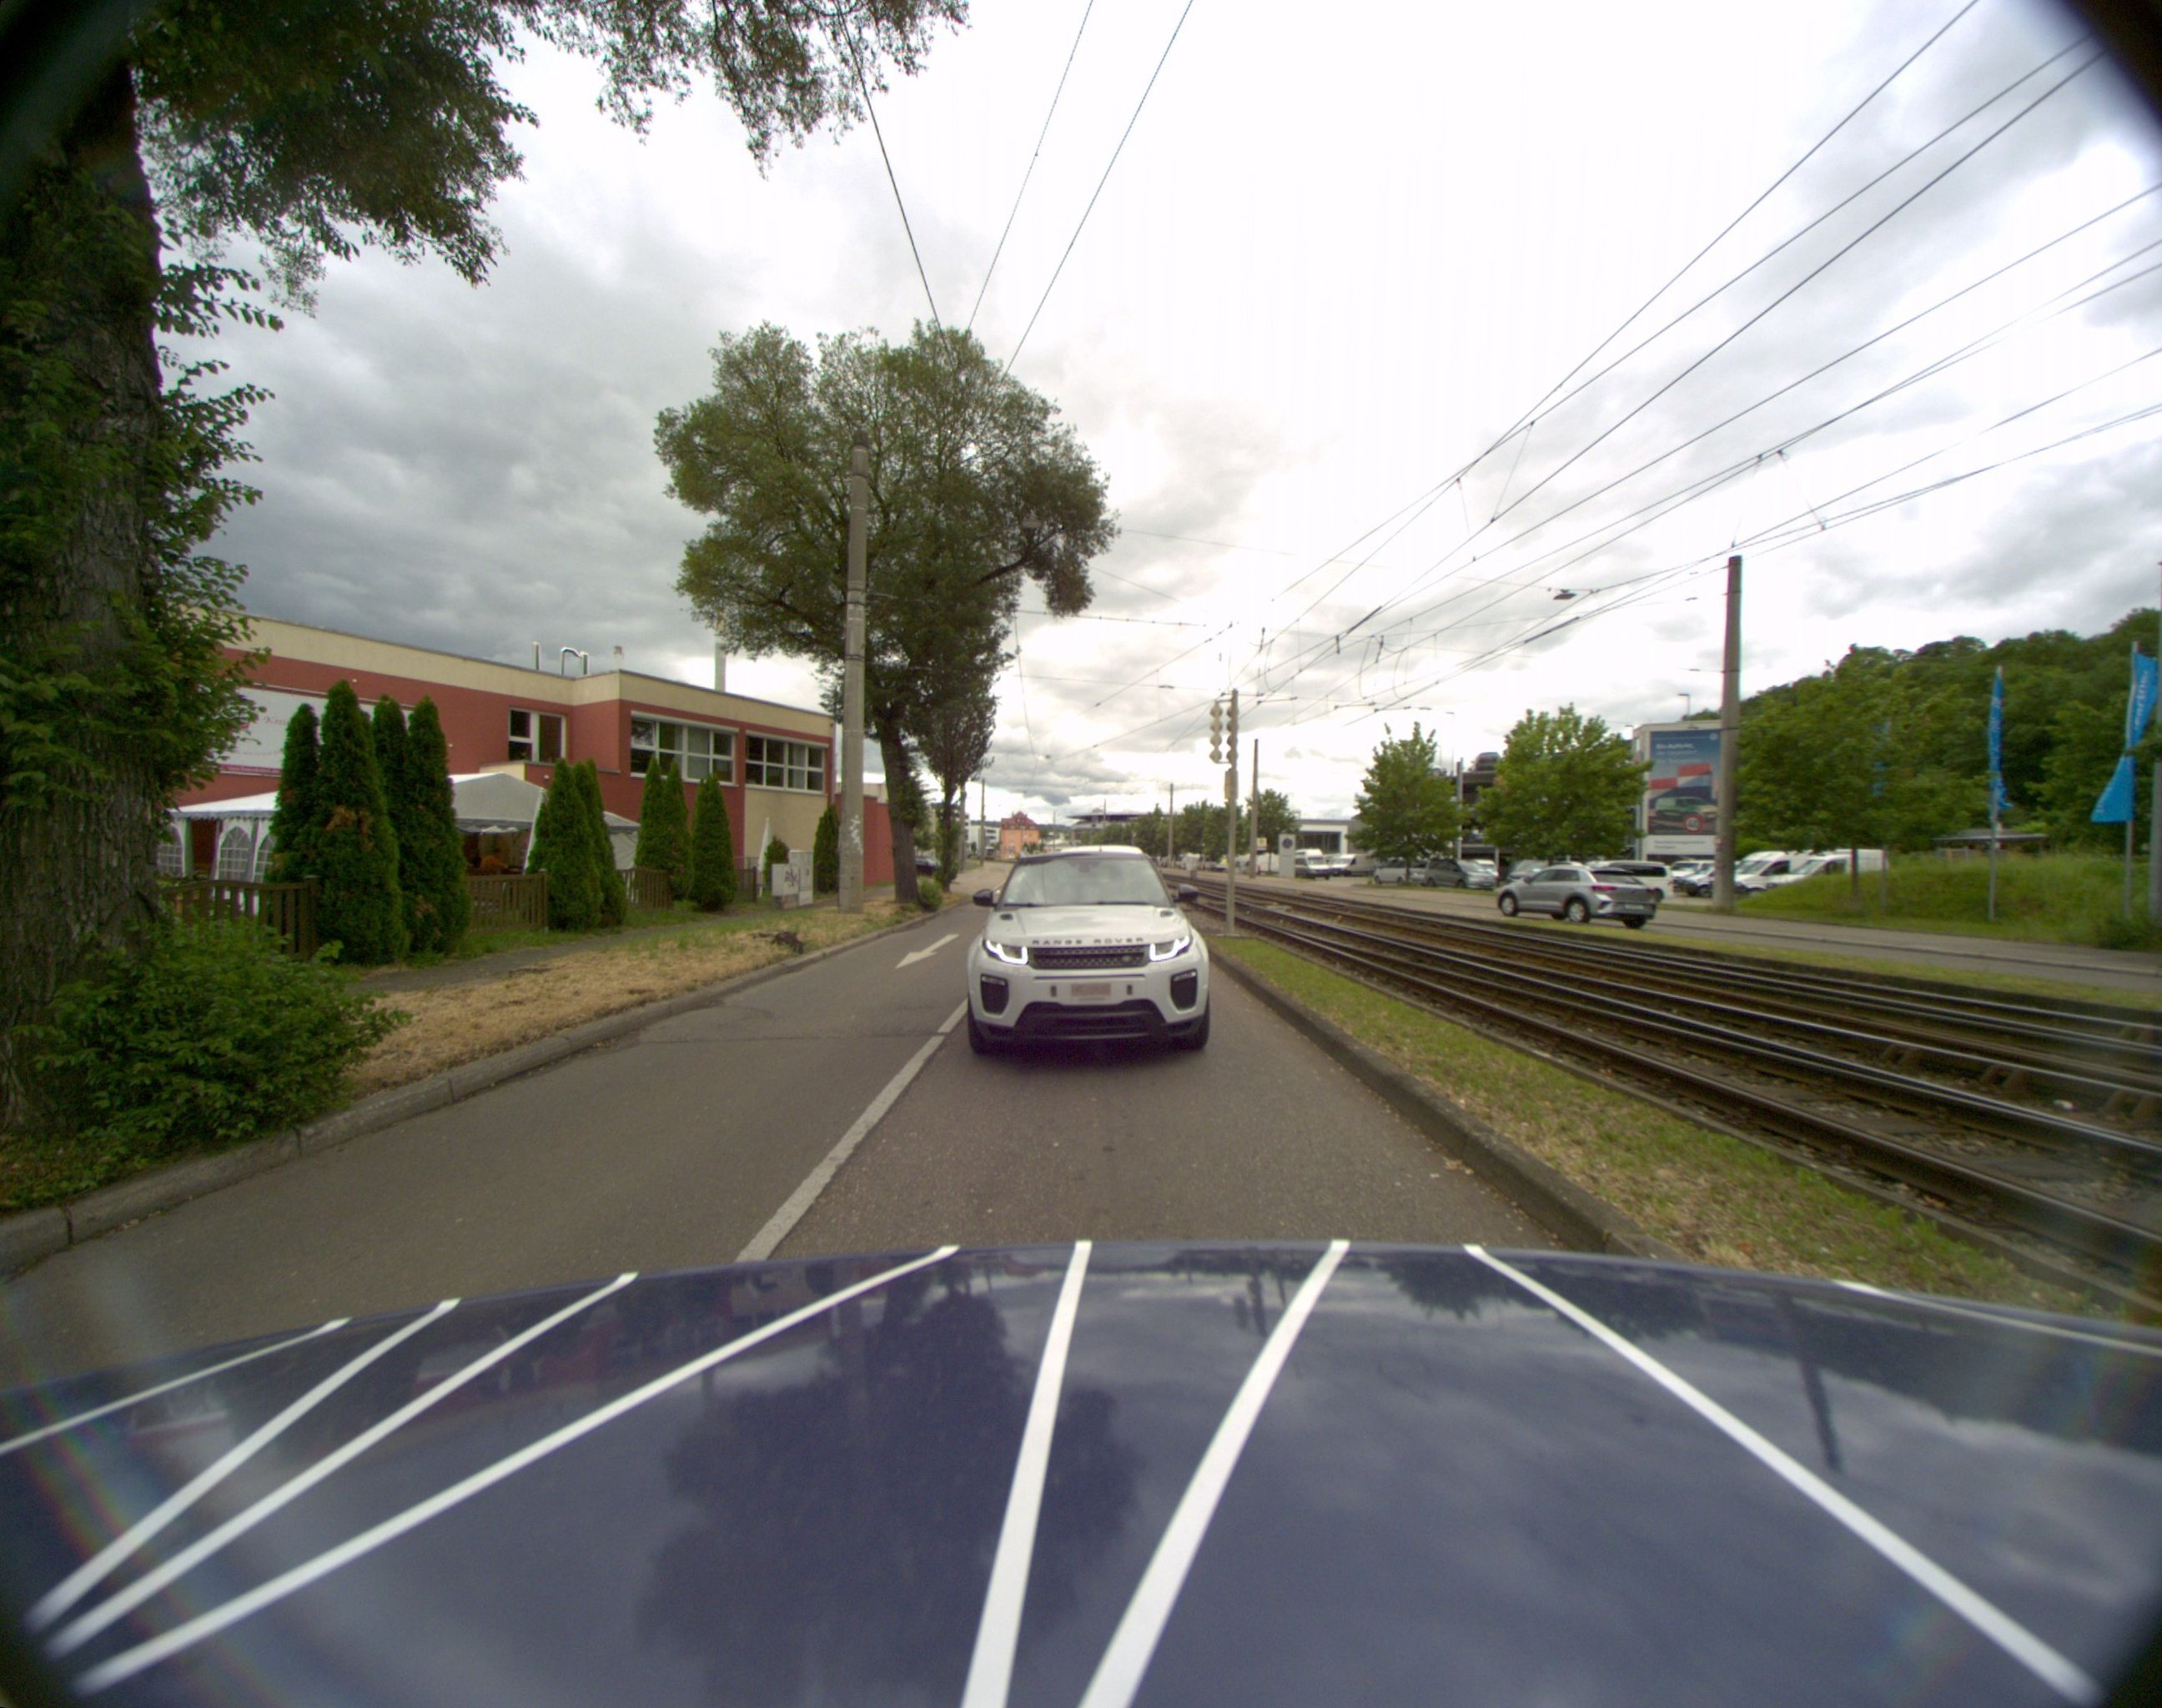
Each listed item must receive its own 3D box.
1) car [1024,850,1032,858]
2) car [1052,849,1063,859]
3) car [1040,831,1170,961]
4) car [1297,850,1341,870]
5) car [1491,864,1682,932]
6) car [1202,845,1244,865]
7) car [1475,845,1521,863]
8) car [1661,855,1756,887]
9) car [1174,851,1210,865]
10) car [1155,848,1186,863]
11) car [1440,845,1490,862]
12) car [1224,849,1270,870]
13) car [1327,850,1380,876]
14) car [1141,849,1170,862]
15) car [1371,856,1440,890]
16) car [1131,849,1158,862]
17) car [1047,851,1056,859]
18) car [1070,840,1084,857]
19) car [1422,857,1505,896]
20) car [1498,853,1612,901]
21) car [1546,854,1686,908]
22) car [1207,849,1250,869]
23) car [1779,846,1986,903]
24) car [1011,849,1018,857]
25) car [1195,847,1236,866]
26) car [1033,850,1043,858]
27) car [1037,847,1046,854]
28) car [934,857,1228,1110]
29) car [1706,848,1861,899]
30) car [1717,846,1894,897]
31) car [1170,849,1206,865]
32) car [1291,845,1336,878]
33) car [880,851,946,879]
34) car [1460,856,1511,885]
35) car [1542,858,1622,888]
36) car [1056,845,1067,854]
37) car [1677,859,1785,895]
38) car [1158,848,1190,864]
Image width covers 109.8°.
[{"bbox_3d":[-14.006,-0.103,200.934,2.000,2.002,3.997,-2,1,-7],"label":"car"},{"bbox_3d":[-5.131,-0.042,163.743,2.000,2.002,3.997,-2,1,-7],"label":"car"},{"bbox_3d":[0.367,0.630,14.189,1.998,1.990,5.033,0,1,0],"label":"car"},{"bbox_3d":[29.121,0.721,93.025,4.636,2.196,2.108,-2,1,-1],"label":"car"},{"bbox_3d":[13.303,1.102,20.379,2.000,1.569,4.175,1,0,-7],"label":"car"},{"bbox_3d":[17.493,0.142,93.609,4.639,2.196,2.107,-2,1,-8],"label":"car"},{"bbox_3d":[47.133,-0.028,85.941,4.227,1.826,1.983,-2,1,21],"label":"car"},{"bbox_3d":[39.879,1.078,48.394,4.228,1.826,1.983,-2,1,19],"label":"car"},{"bbox_3d":[15.768,0.597,108.132,4.639,1.829,2.107,-2,1,-8],"label":"car"},{"bbox_3d":[14.484,0.297,122.918,4.639,2.196,2.107,-2,1,-8],"label":"car"},{"bbox_3d":[46.341,-0.112,91.796,5.216,1.826,1.983,-2,1,21],"label":"car"},{"bbox_3d":[18.784,0.575,86.087,4.639,2.196,2.107,-2,1,-8],"label":"car"},{"bbox_3d":[30.328,0.975,84.562,6.057,2.608,2.316,-3,1,-34],"label":"car"},{"bbox_3d":[13.014,0.243,132.835,4.639,2.196,2.107,-2,1,-8],"label":"car"},{"bbox_3d":[22.131,1.243,52.101,2.142,2.104,4.772,-2,1,-8],"label":"car"},{"bbox_3d":[11.849,0.193,141.317,4.639,2.196,2.107,-2,1,-8],"label":"car"},{"bbox_3d":[-7.456,0.311,192.211,2.000,2.002,3.997,-2,1,-7],"label":"car"},{"bbox_3d":[-0.814,-1.042,141.559,2.410,2.931,4.747,-2,1,-2],"label":"car"},{"bbox_3d":[22.961,1.275,45.868,2.142,2.104,4.773,-2,1,-7],"label":"car"},{"bbox_3d":[24.683,1.168,39.665,4.774,2.254,1.979,-2,1,-3],"label":"car"},{"bbox_3d":[25.271,1.241,35.996,5.269,2.254,1.999,-2,1,-3],"label":"car"},{"bbox_3d":[17.701,0.608,91.173,4.639,2.196,2.107,-2,1,-8],"label":"car"},{"bbox_3d":[34.678,0.911,33.125,5.850,2.254,2.056,-2,1,22],"label":"car"},{"bbox_3d":[-19.730,-0.310,225.519,2.000,2.002,3.997,-2,1,-7],"label":"car"},{"bbox_3d":[17.072,0.323,96.393,4.639,2.196,2.107,-2,1,-8],"label":"car"},{"bbox_3d":[-10.672,-0.003,188.350,2.000,2.002,3.997,-2,1,-7],"label":"car"},{"bbox_3d":[-10.632,-0.957,205.069,2.000,2.002,3.997,-2,1,-7],"label":"car"},{"bbox_3d":[0.000,0.894,7.314,1.998,1.680,4.268,0,1,0],"label":"car"},{"bbox_3d":[36.733,1.006,39.934,5.652,2.446,1.983,-2,1,19],"label":"car"},{"bbox_3d":[34.972,0.857,36.918,5.839,2.254,2.056,-2,1,22],"label":"car"},{"bbox_3d":[15.543,0.395,110.535,4.639,2.196,2.107,-2,1,-8],"label":"car"},{"bbox_3d":[22.406,0.678,73.592,2.320,2.994,6.157,-2,1,0],"label":"car"},{"bbox_3d":[-10.941,0.700,49.756,3.999,1.636,1.895,-2,1,-6],"label":"car"},{"bbox_3d":[28.884,1.149,54.406,1.900,1.882,4.600,-2,1,12],"label":"car"},{"bbox_3d":[34.403,1.302,52.314,4.228,1.826,1.983,-2,1,19],"label":"car"},{"bbox_3d":[-4.634,-1.044,178.511,2.000,2.002,3.997,-2,1,-7],"label":"car"},{"bbox_3d":[36.660,1.285,42.983,4.228,1.826,1.983,-2,1,19],"label":"car"},{"bbox_3d":[14.761,0.314,120.483,4.639,2.196,2.107,-2,1,-8],"label":"car"}]
